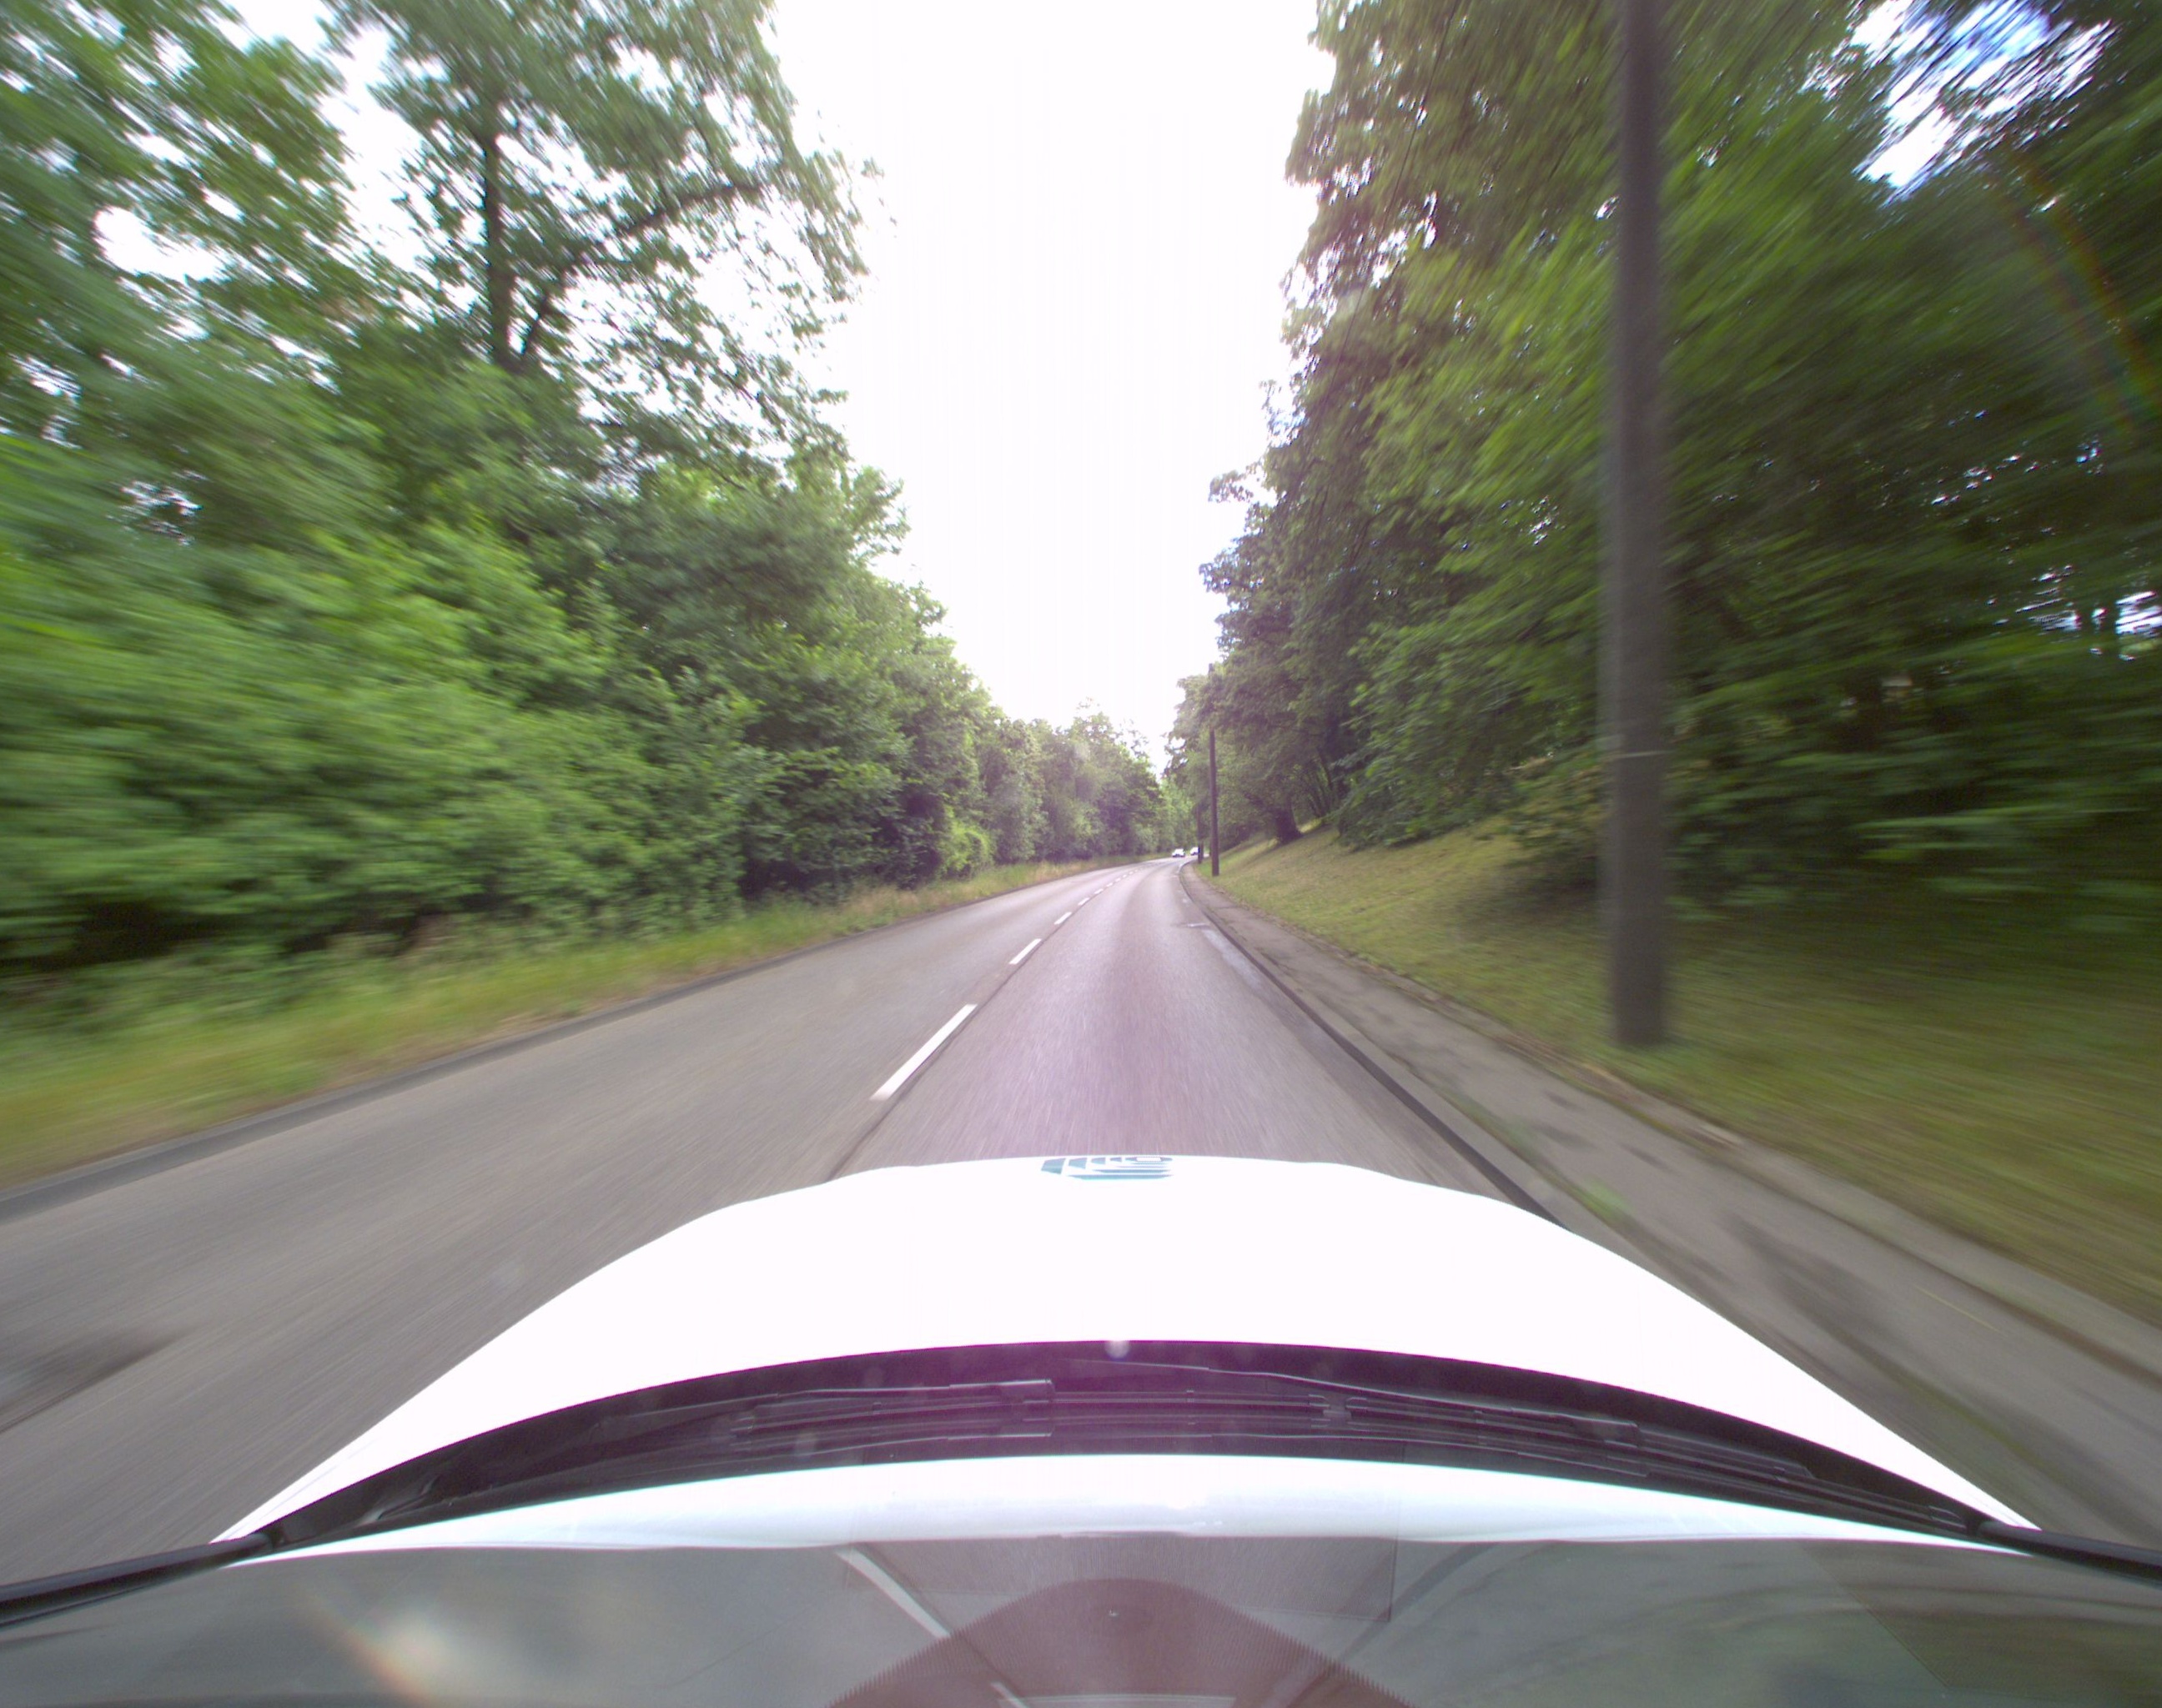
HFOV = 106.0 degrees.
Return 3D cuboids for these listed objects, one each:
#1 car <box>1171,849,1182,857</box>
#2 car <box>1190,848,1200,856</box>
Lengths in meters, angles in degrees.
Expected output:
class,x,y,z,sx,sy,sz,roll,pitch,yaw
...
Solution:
class,x,y,z,sx,sy,sz,roll,pitch,yaw
car,16.679,-0.145,141.866,1.800,1.420,4.008,-1,0,7
car,23.951,-0.393,171.777,1.932,1.581,4.449,-1,0,7
